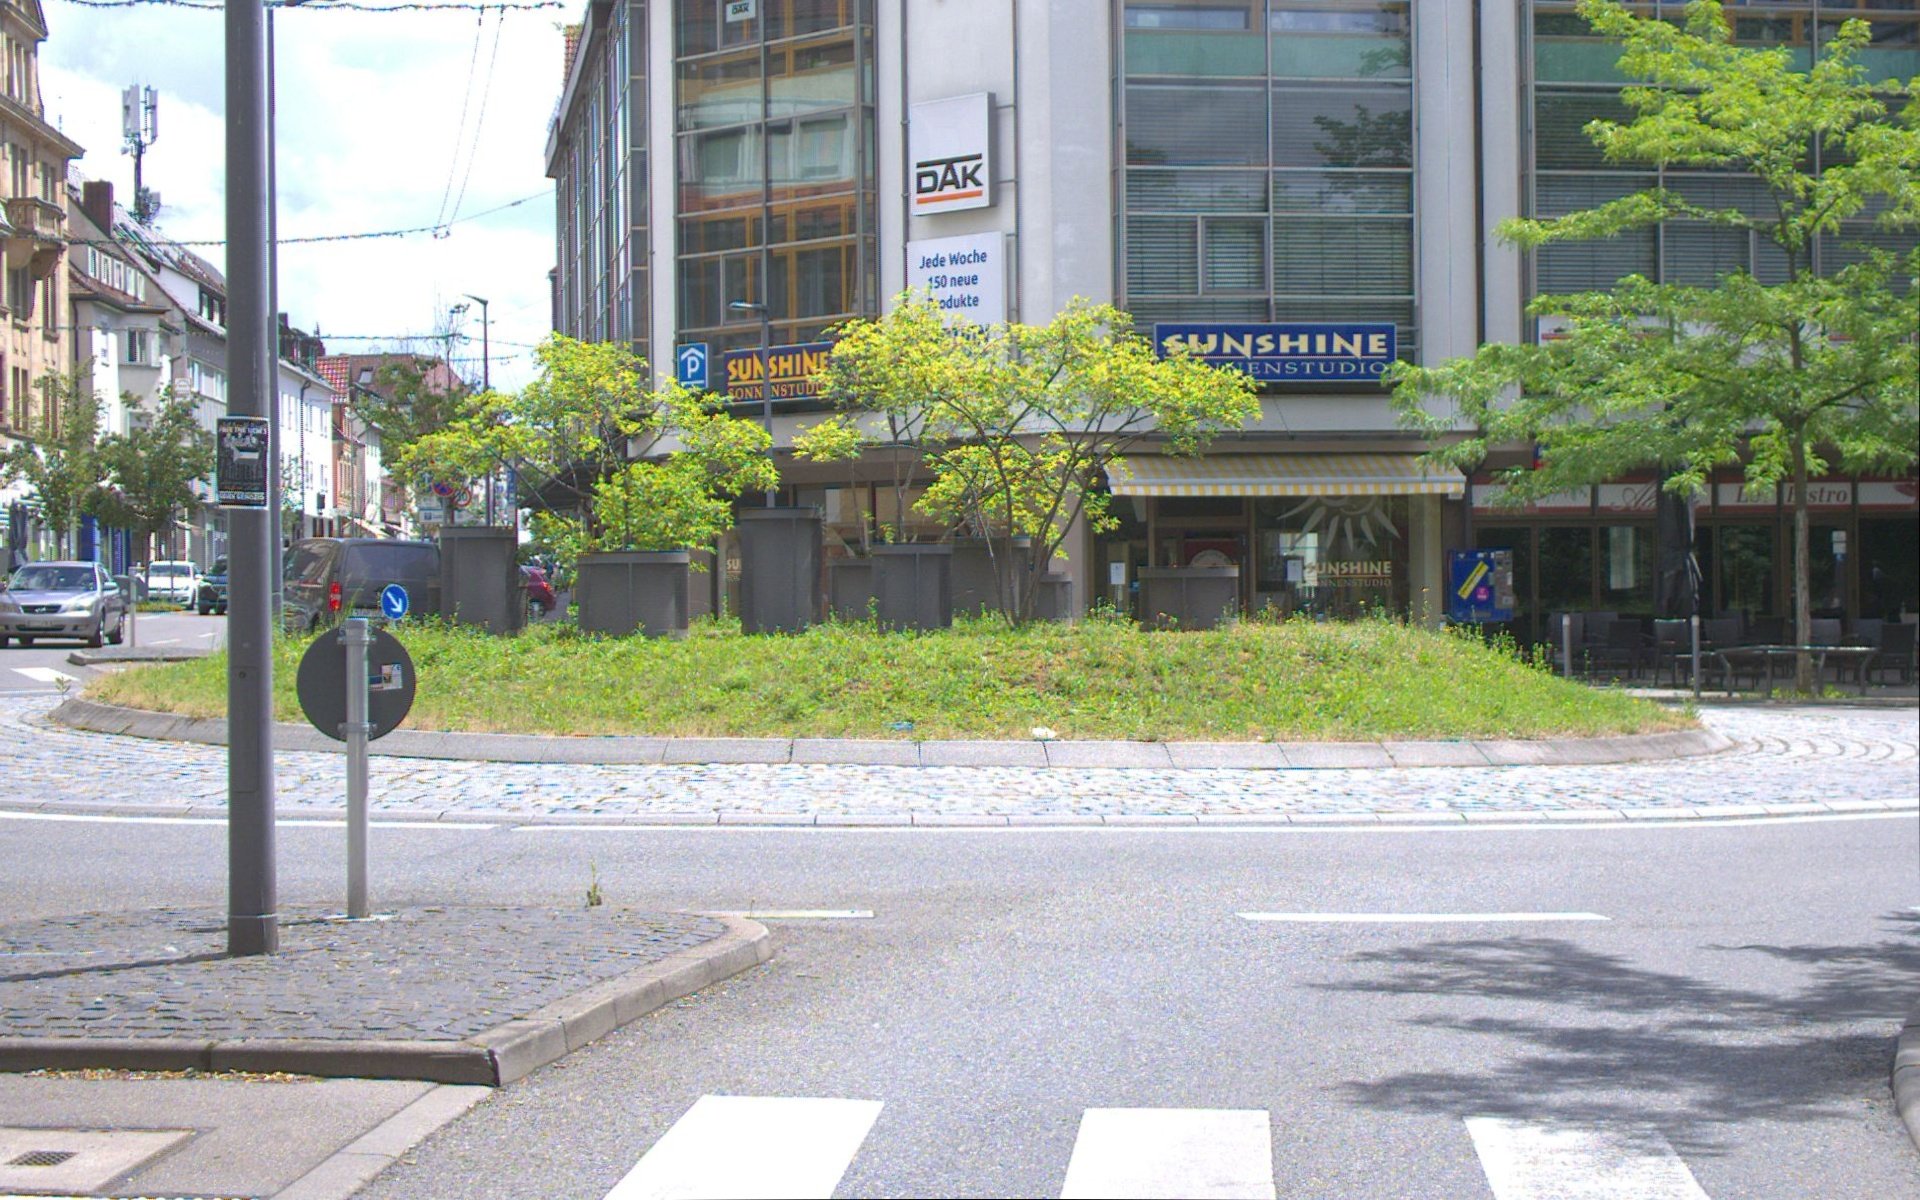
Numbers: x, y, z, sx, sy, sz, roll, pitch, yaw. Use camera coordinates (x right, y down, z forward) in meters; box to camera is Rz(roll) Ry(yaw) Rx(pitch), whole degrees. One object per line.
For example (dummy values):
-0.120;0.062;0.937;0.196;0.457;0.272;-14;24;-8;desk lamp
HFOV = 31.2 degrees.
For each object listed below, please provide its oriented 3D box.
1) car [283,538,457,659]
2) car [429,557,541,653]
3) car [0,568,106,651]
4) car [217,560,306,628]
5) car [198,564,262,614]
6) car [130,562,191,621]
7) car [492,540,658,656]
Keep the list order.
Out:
-8.963;-0.038;51.942;1.823;1.701;4.441;2;0;-19;car
-8.901;0.079;64.620;1.824;1.725;4.234;-1;0;-5;car
-15.474;0.140;58.458;1.709;1.349;4.001;0;1;-12;car
-15.995;-0.141;78.857;1.824;1.514;4.234;-1;0;-9;car
-20.433;-0.324;96.257;1.709;1.349;4.001;0;1;-12;car
-24.050;-0.279;103.482;1.709;1.706;4.001;0;1;-12;car
-5.921;-0.061;52.442;1.993;1.682;4.694;0;1;-13;car
